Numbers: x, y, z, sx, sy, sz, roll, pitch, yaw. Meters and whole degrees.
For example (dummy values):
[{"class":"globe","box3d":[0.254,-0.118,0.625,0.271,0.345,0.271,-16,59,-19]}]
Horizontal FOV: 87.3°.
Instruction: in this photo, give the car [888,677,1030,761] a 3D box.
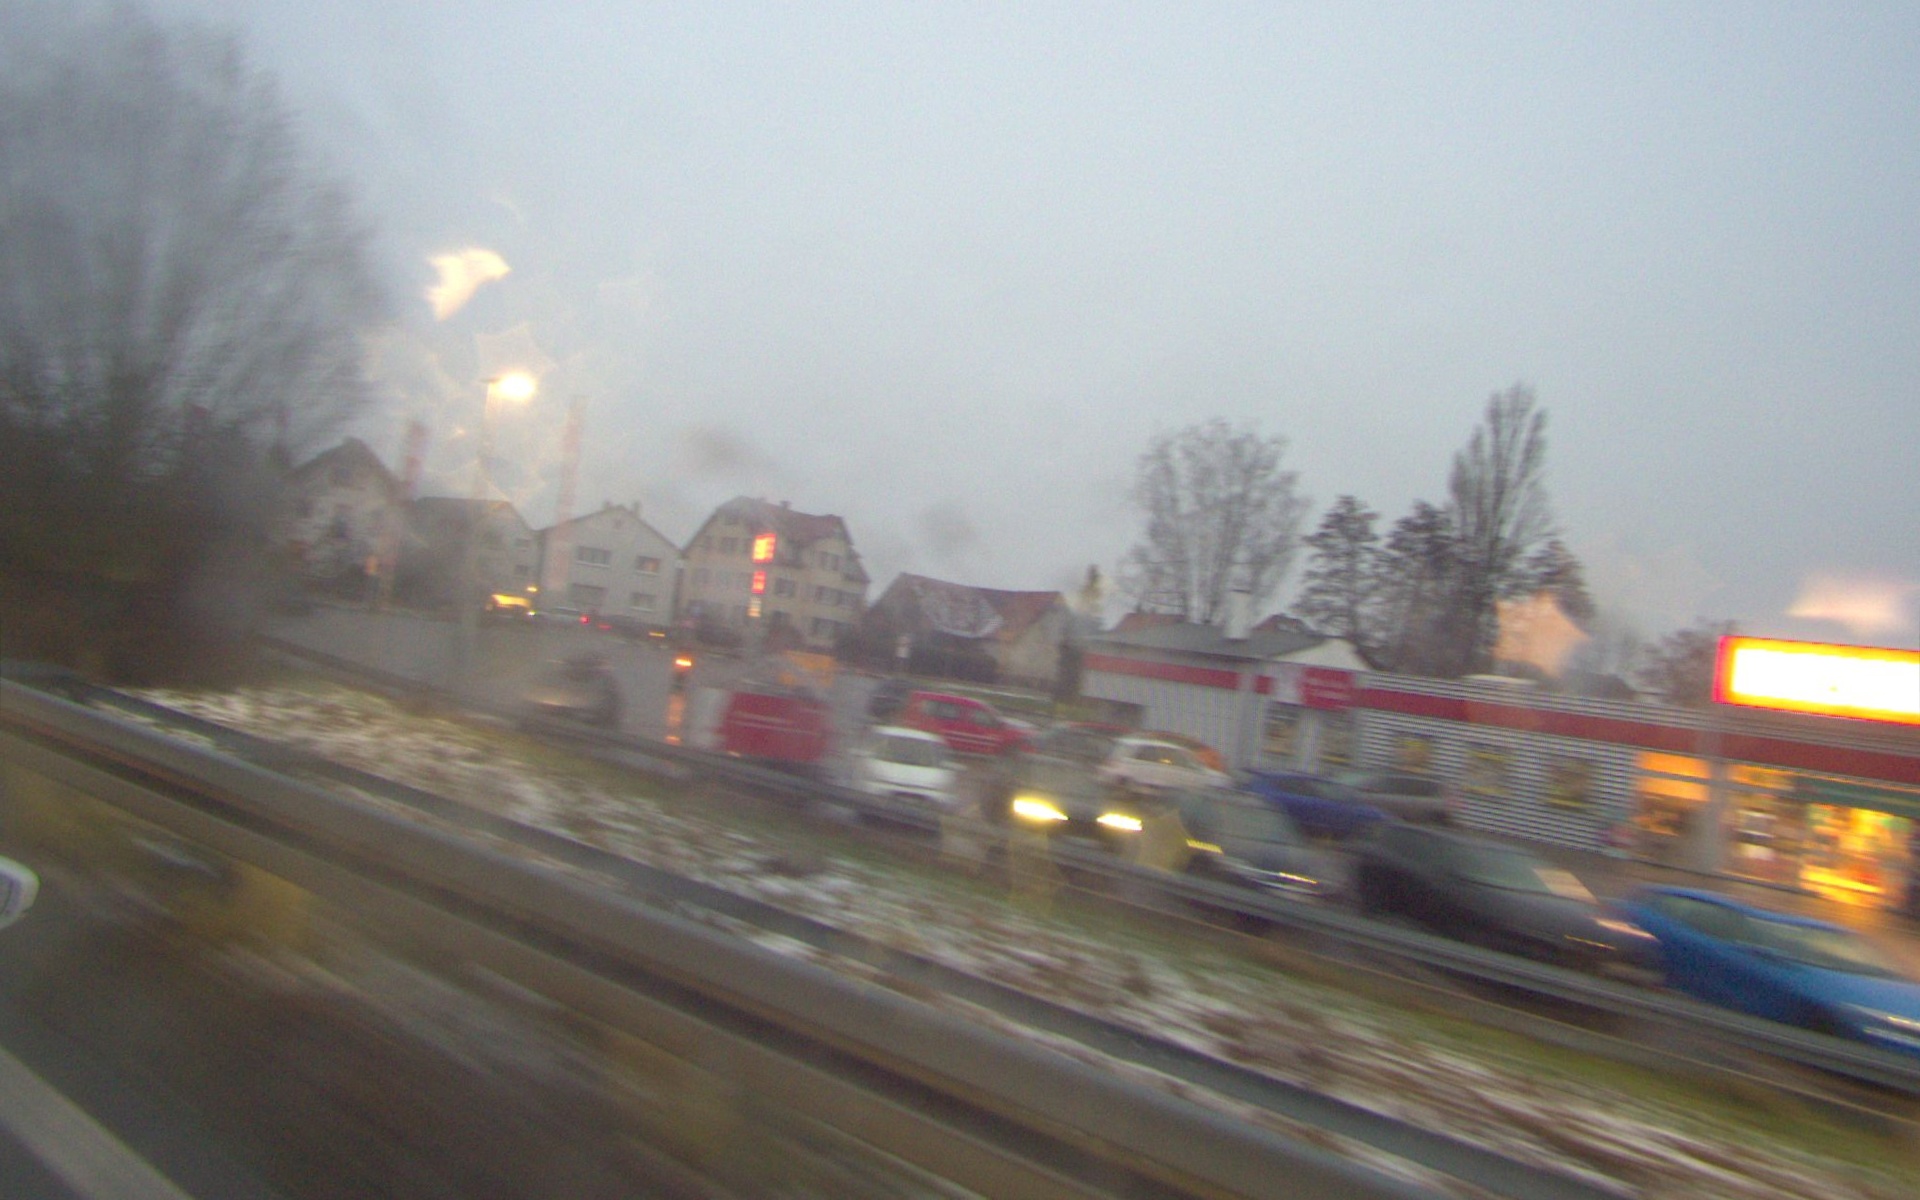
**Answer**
[{"class":"car","box3d":[-0.071,3.628,30.864,3.968,1.890,1.721,8,-1,-9]}]

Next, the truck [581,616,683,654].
[{"class":"truck","box3d":[-20.320,2.158,62.338,5.720,1.564,1.932,9,-2,-26]}]

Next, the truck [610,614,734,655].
[{"class":"truck","box3d":[-21.291,2.589,74.510,8.554,1.836,2.403,9,-2,-23]}]

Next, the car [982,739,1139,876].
[{"class":"car","box3d":[1.576,3.419,17.222,1.604,1.436,3.996,8,-2,-8]}]

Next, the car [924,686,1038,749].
[{"class":"car","box3d":[0.726,4.189,36.030,3.771,1.626,1.622,8,-1,-5]}]

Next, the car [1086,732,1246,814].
[{"class":"car","box3d":[5.353,4.519,26.432,3.695,1.446,1.569,8,-2,-5]}]

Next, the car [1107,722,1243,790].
[{"class":"car","box3d":[6.760,4.927,31.757,3.781,1.517,1.565,9,-2,-15]}]

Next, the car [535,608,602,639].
[{"class":"car","box3d":[-26.136,1.536,67.229,3.943,1.533,1.906,8,-2,-19]}]

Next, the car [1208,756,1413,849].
[{"class":"car","box3d":[8.440,4.875,24.398,4.242,1.441,1.745,8,-2,-6]}]

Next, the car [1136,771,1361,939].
[{"class":"car","box3d":[4.143,3.688,15.147,1.604,1.436,3.996,8,-2,-8]}]

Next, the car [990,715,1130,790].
[{"class":"car","box3d":[2.789,4.304,28.577,3.692,1.446,1.570,8,-2,0]}]

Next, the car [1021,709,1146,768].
[{"class":"car","box3d":[4.183,4.686,34.111,3.781,1.409,1.565,9,-2,-15]}]

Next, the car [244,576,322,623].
[{"class":"car","box3d":[-29.610,-0.034,43.972,3.948,1.565,1.934,6,-2,44]}]

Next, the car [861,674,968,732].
[{"class":"car","box3d":[-1.776,3.918,38.440,3.775,1.631,1.567,8,-2,-9]}]

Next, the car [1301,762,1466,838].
[{"class":"car","box3d":[11.455,5.412,27.301,3.776,1.367,1.567,8,-2,-10]}]

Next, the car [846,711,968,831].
[{"class":"car","box3d":[-1.106,3.110,18.933,1.767,1.455,3.996,8,-2,-8]}]

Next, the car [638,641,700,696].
[{"class":"car","box3d":[-10.860,2.511,37.766,1.696,1.619,4.029,8,-2,-12]}]

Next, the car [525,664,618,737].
[{"class":"car","box3d":[-9.326,2.382,24.346,1.368,1.328,3.205,8,-2,-10]}]

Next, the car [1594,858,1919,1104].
[{"class":"car","box3d":[9.982,4.365,11.972,1.870,1.413,4.179,7,-2,-4]}]

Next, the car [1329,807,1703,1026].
[{"class":"car","box3d":[7.029,3.996,13.433,1.898,1.471,4.586,8,-3,-7]}]
